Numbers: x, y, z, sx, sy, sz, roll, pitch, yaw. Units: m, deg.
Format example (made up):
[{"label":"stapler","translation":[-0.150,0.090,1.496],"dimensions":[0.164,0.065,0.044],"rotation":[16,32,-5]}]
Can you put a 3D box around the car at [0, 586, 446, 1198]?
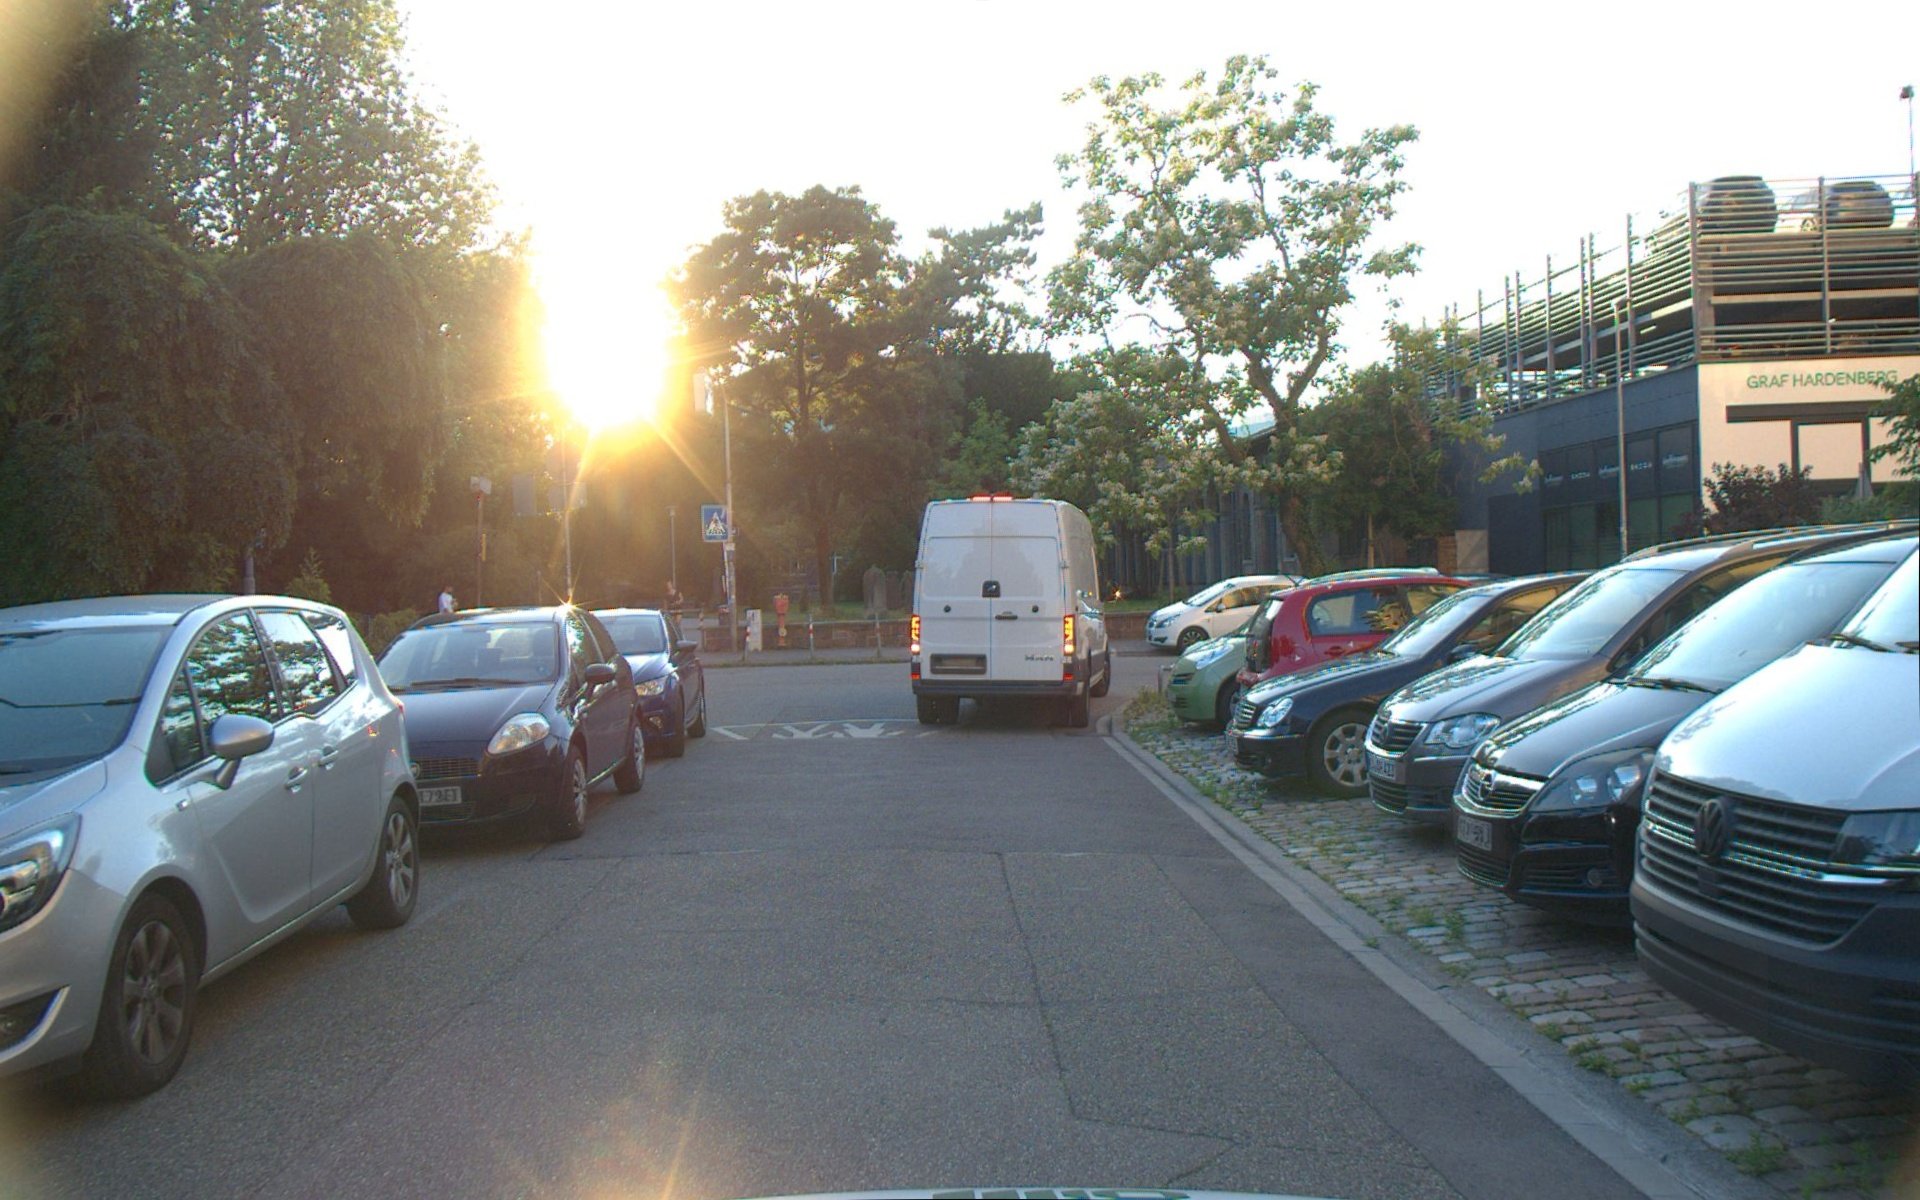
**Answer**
[{"label":"car","translation":[-3.369,0.796,6.327],"dimensions":[1.699,1.594,4.126],"rotation":[-3,0,-4]}]

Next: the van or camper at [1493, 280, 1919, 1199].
[{"label":"van or camper","translation":[4.472,0.186,4.799],"dimensions":[5.033,2.205,2.039],"rotation":[-5,0,-3]}]

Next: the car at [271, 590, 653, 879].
[{"label":"car","translation":[-3.257,0.775,11.544],"dimensions":[1.699,1.594,3.694],"rotation":[-3,0,-4]}]

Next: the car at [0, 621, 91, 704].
[{"label":"car","translation":[-21.337,1.397,36.009],"dimensions":[3.771,1.516,1.826],"rotation":[-2,6,5]}]

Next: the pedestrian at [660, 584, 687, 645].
[{"label":"pedestrian","translation":[-7.864,0.391,45.413],"dimensions":[0.633,1.677,0.674],"rotation":[0,0,-1]}]

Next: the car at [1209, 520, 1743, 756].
[{"label":"car","translation":[4.680,0.333,15.495],"dimensions":[4.314,1.659,1.846],"rotation":[-6,0,1]}]

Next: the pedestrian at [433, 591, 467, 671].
[{"label":"pedestrian","translation":[-11.772,0.706,38.219],"dimensions":[0.581,1.840,0.620],"rotation":[0,0,0]}]

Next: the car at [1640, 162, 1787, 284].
[{"label":"car","translation":[18.339,-9.147,40.467],"dimensions":[1.952,2.049,4.002],"rotation":[-1,0,4]}]

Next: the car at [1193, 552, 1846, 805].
[{"label":"car","translation":[4.146,0.577,12.716],"dimensions":[4.317,1.558,1.844],"rotation":[-3,-2,-4]}]

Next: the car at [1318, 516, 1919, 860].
[{"label":"car","translation":[4.646,0.457,10.231],"dimensions":[4.317,1.690,1.844],"rotation":[-4,-2,-4]}]

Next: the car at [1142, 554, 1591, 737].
[{"label":"car","translation":[4.310,0.493,17.974],"dimensions":[4.317,1.660,1.844],"rotation":[-3,-2,-4]}]

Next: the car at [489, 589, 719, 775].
[{"label":"car","translation":[-3.509,0.736,16.920],"dimensions":[1.699,1.594,3.787],"rotation":[-3,0,-4]}]

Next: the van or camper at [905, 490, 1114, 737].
[{"label":"van or camper","translation":[0.826,0.124,21.373],"dimensions":[1.951,2.664,6.408],"rotation":[1,0,8]}]

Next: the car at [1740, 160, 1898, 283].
[{"label":"car","translation":[20.851,-9.151,40.320],"dimensions":[1.952,2.049,4.002],"rotation":[-1,0,4]}]

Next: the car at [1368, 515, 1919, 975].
[{"label":"car","translation":[4.279,0.499,7.578],"dimensions":[4.241,1.690,1.780],"rotation":[-4,-2,-4]}]

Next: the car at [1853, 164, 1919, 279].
[{"label":"car","translation":[23.544,-9.182,39.985],"dimensions":[1.952,2.049,4.002],"rotation":[-1,0,4]}]

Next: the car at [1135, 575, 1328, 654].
[{"label":"car","translation":[5.814,0.293,35.741],"dimensions":[3.778,1.601,1.957],"rotation":[-1,0,-3]}]

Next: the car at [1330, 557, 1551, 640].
[{"label":"car","translation":[10.239,-0.045,35.463],"dimensions":[4.203,1.529,1.824],"rotation":[-3,0,3]}]
